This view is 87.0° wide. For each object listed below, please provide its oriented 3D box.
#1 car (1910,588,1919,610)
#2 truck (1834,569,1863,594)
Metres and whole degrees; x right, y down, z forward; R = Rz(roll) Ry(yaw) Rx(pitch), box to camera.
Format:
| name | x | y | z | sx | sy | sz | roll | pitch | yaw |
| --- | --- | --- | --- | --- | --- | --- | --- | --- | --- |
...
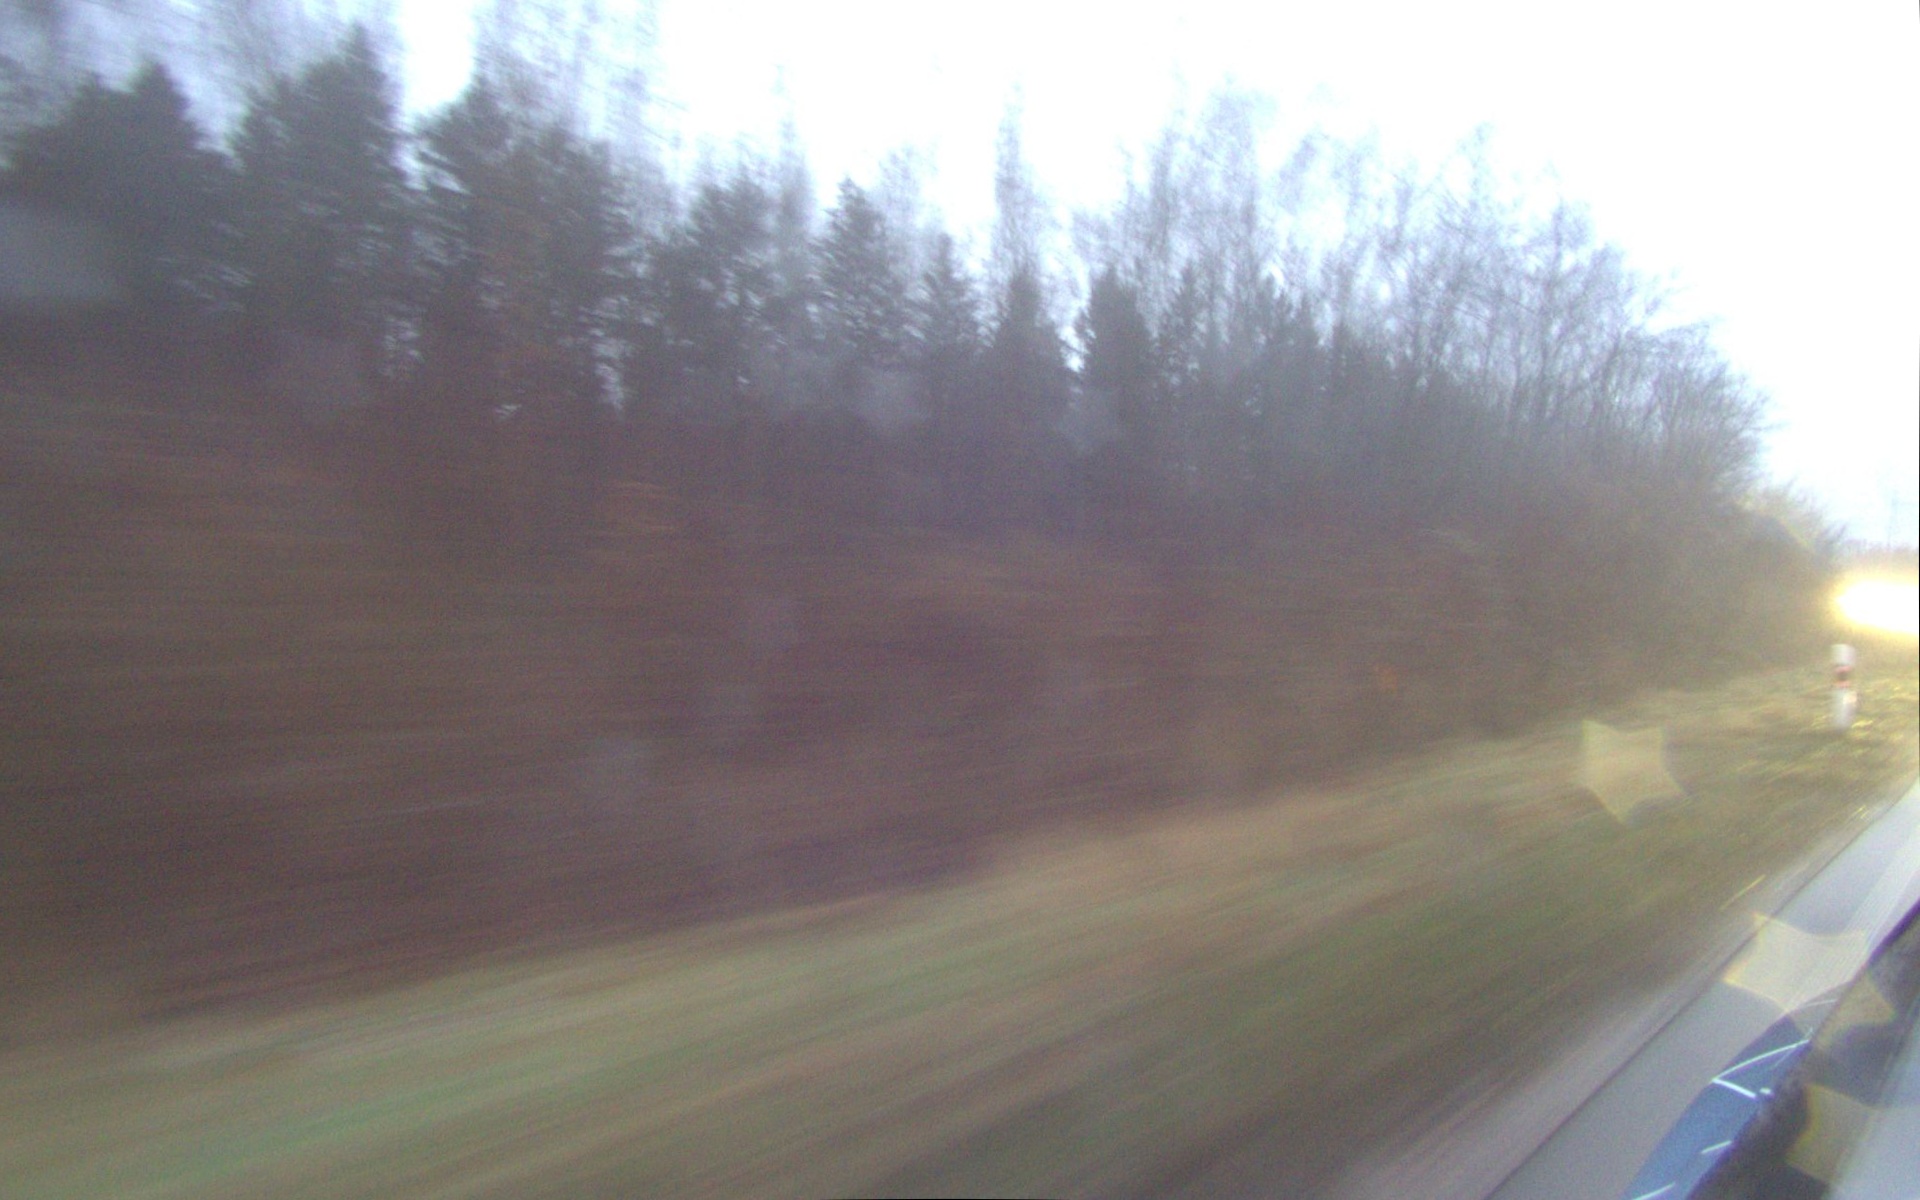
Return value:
| name | x | y | z | sx | sy | sz | roll | pitch | yaw |
| --- | --- | --- | --- | --- | --- | --- | --- | --- | --- |
| car | 81.531 | -0.105 | 85.539 | 1.696 | 1.753 | 3.939 | 0 | 0 | 42 |
| truck | 134.721 | -2.841 | 153.574 | 2.643 | 3.640 | 9.708 | 2 | 2 | 38 |
